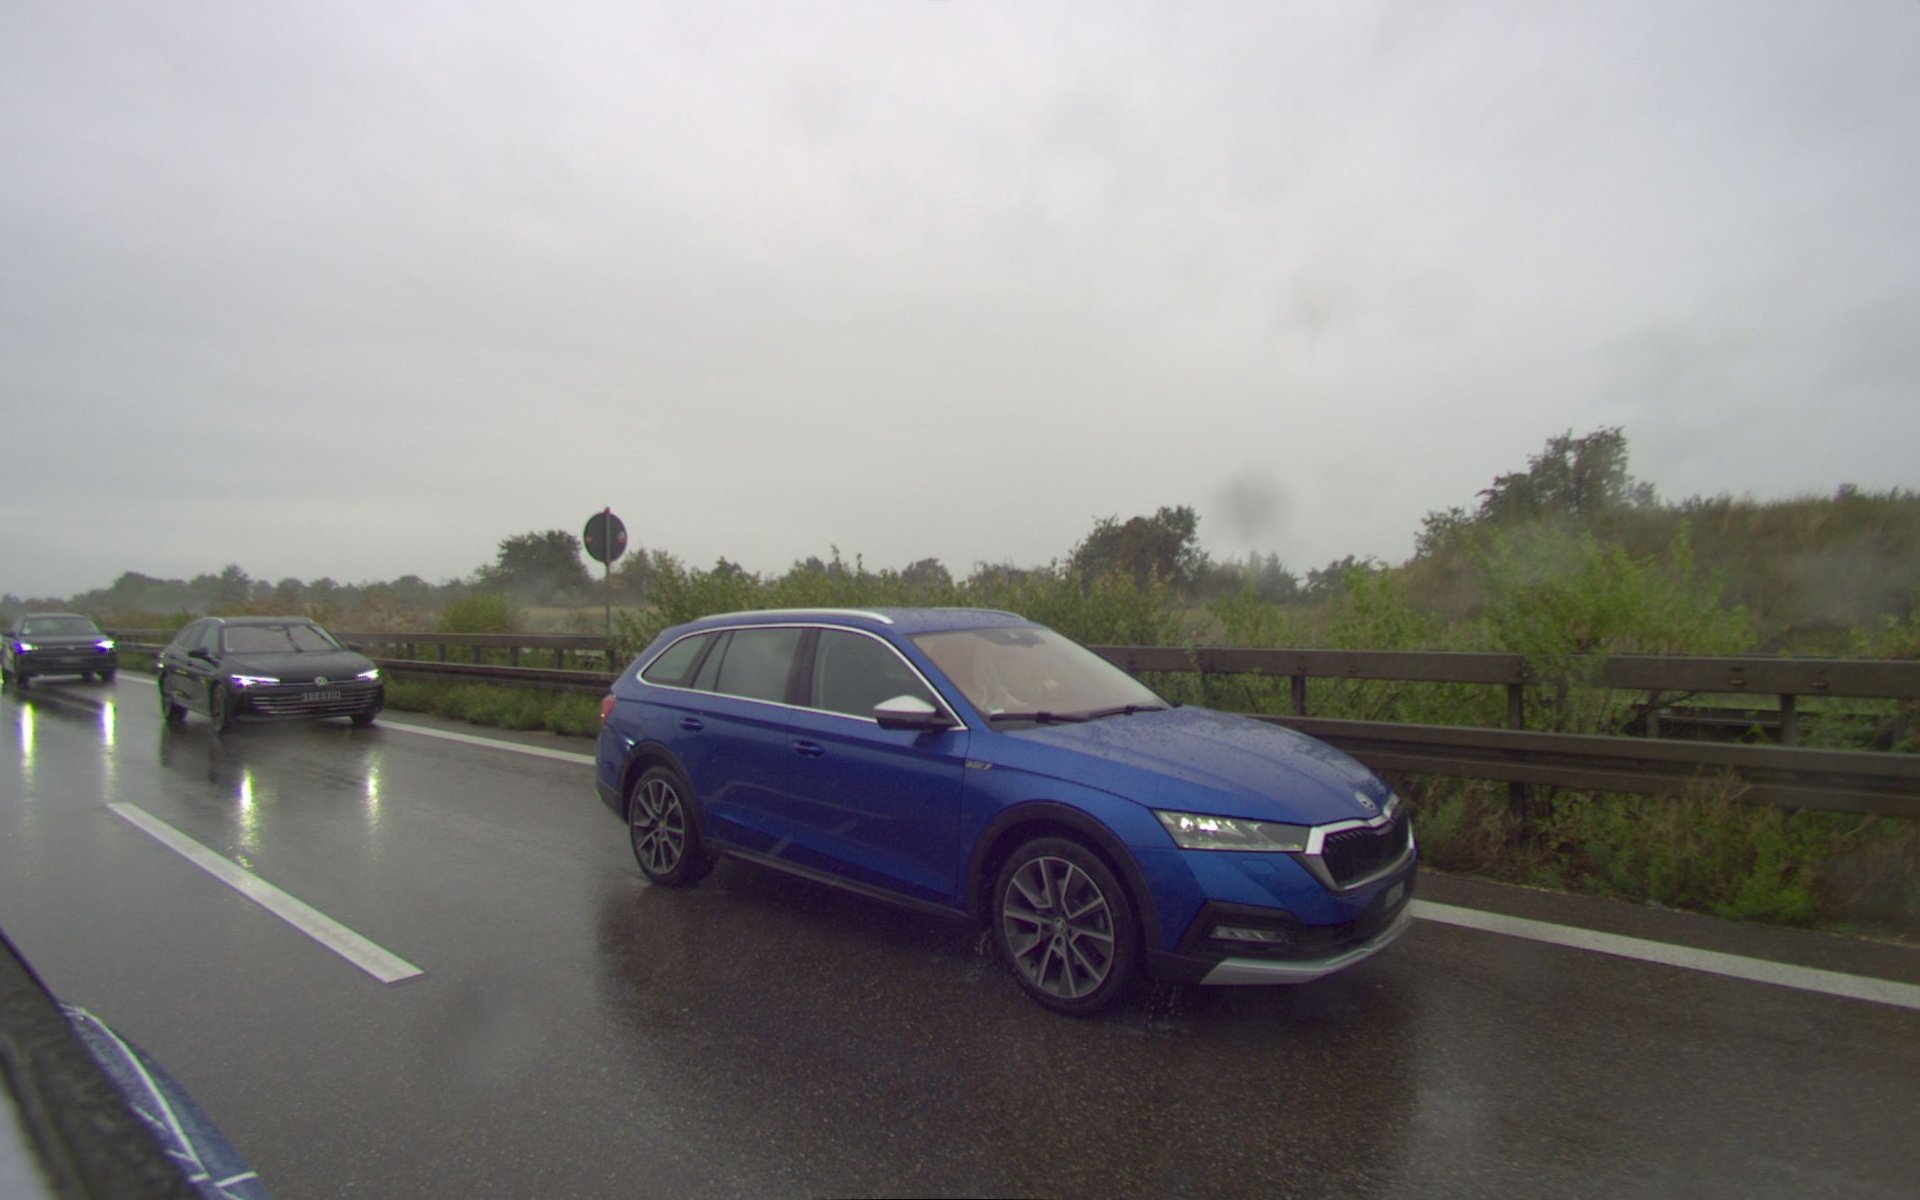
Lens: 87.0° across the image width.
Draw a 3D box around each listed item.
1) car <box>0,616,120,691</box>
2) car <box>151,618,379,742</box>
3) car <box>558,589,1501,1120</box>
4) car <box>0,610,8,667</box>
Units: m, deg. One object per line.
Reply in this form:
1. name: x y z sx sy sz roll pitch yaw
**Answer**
1. car: -22.060 1.243 24.599 4.266 1.644 1.864 -1 -1 41
2. car: -9.731 0.997 14.034 4.368 1.447 1.592 -1 -1 41
3. car: -0.041 0.756 5.005 4.509 1.487 1.767 -1 -1 41
4. car: -36.158 1.424 36.941 4.270 2.029 1.863 -2 -1 44
